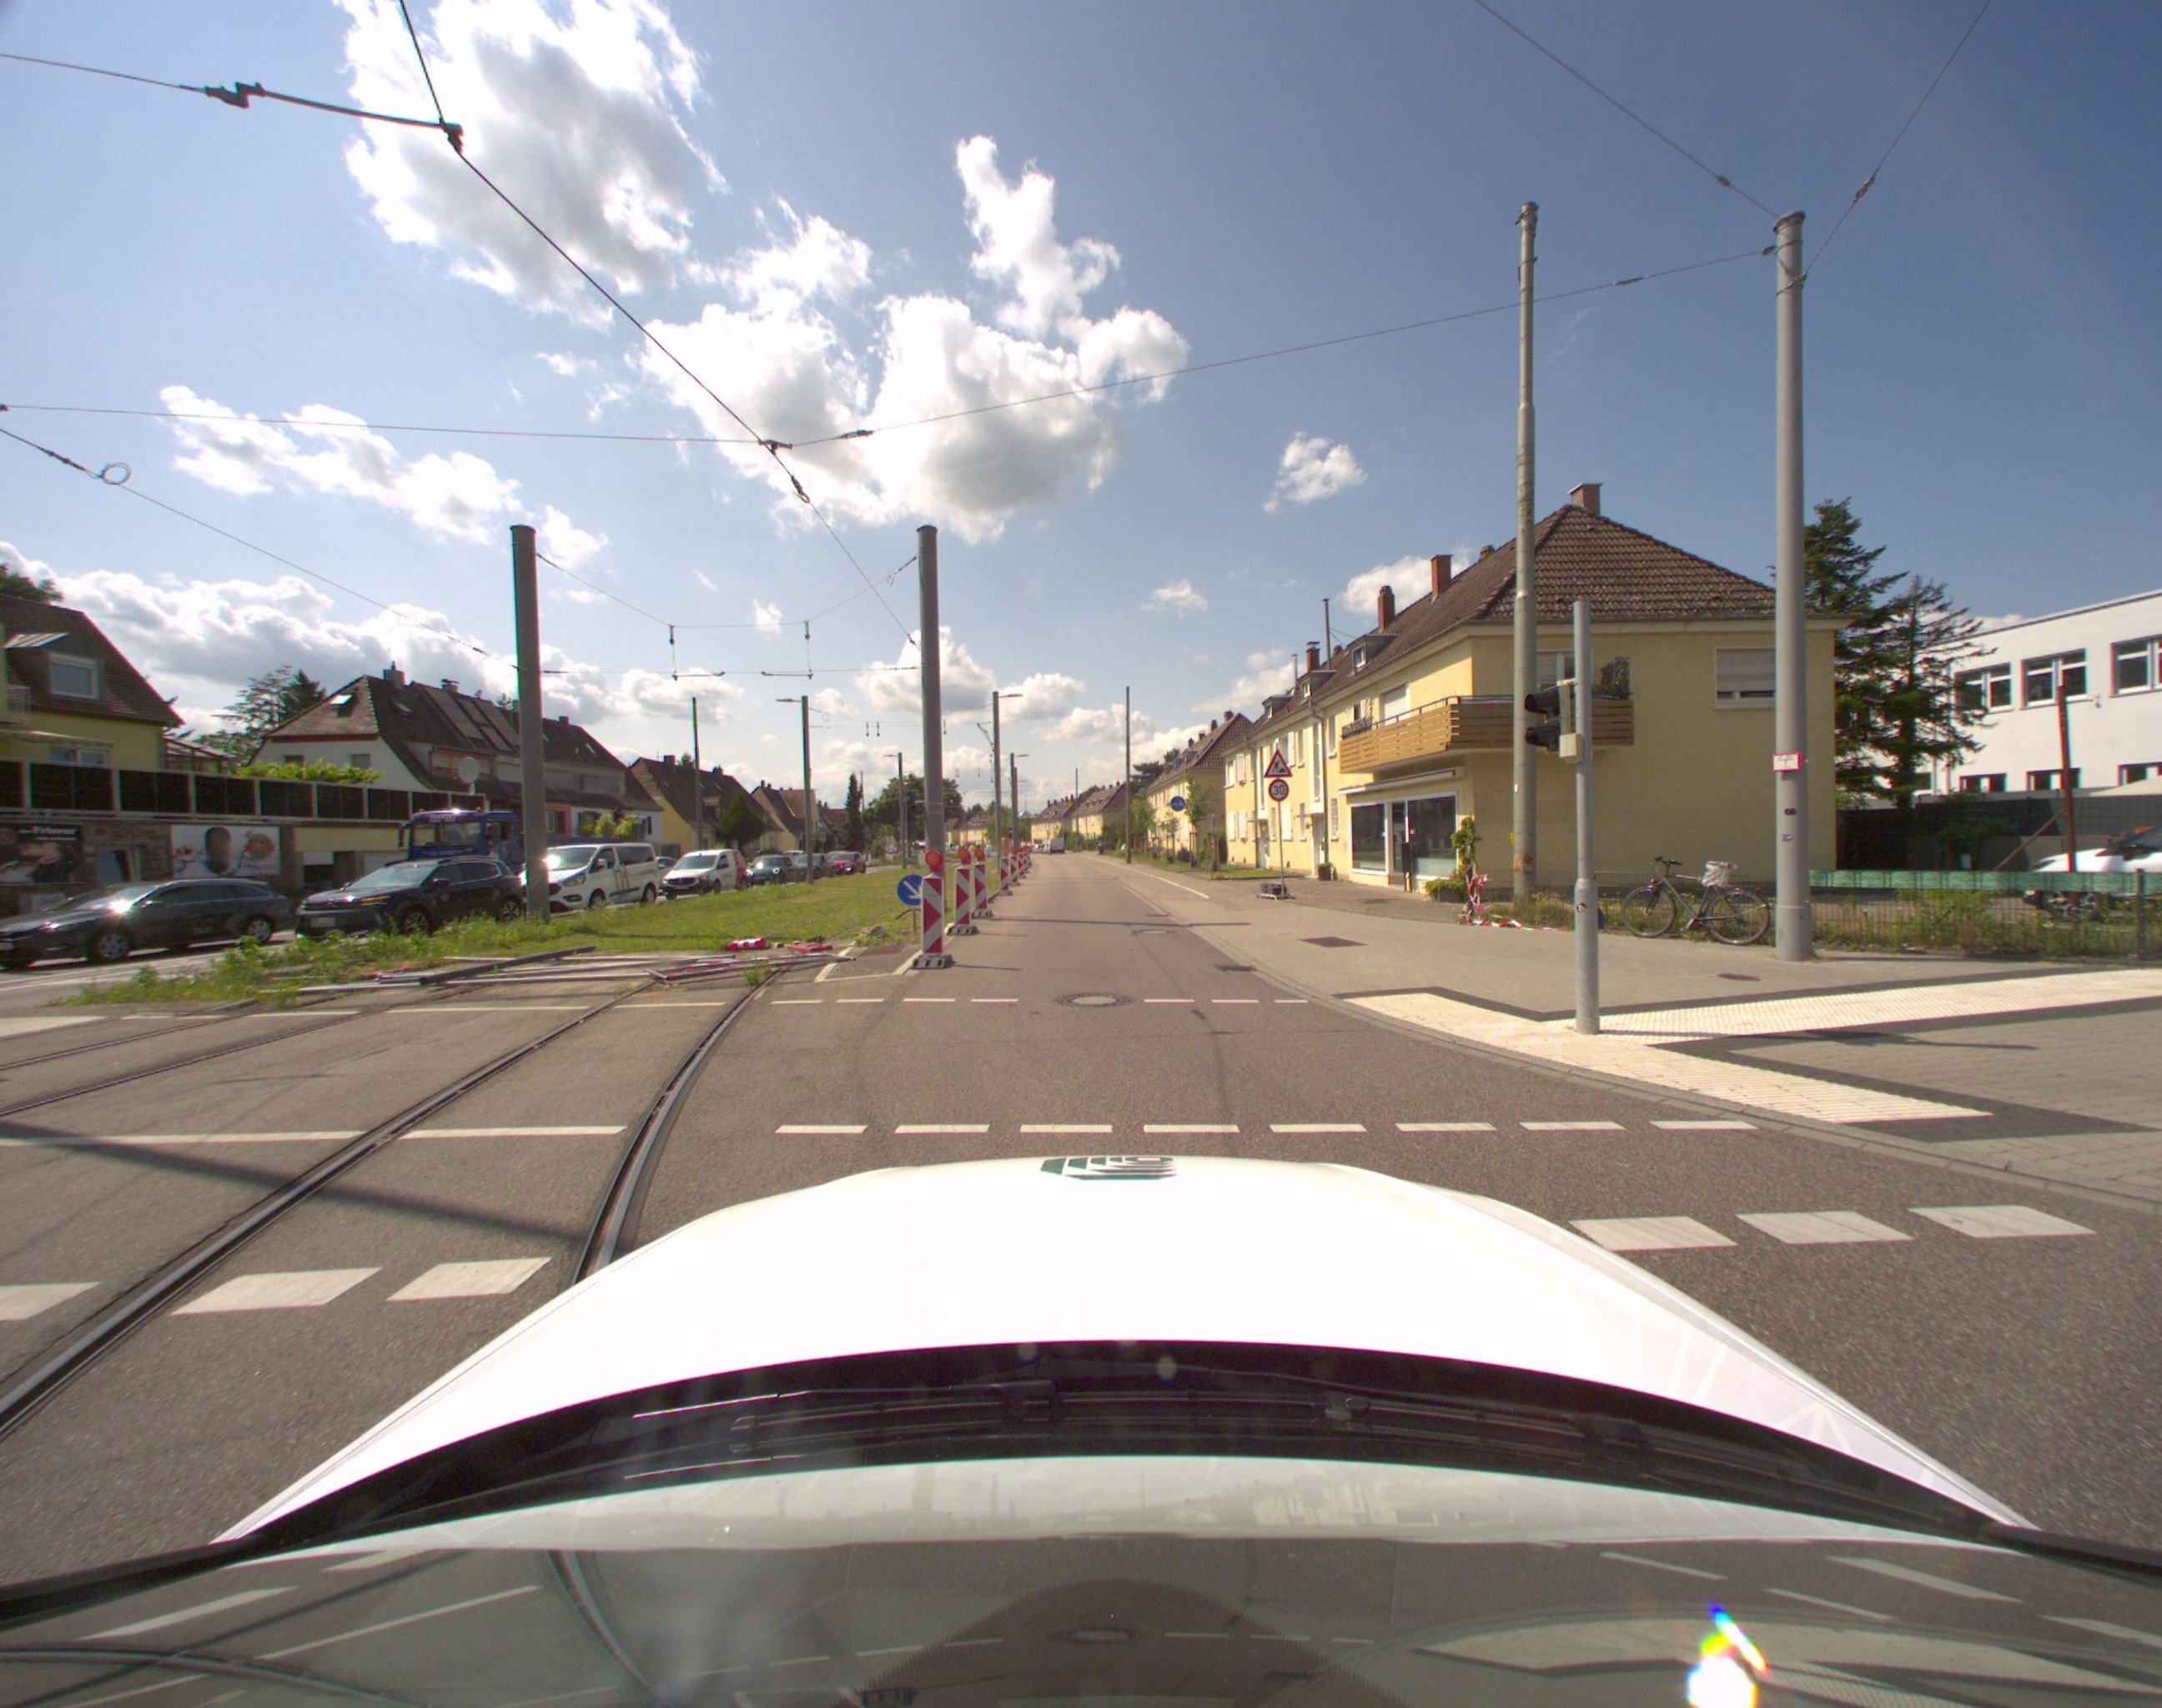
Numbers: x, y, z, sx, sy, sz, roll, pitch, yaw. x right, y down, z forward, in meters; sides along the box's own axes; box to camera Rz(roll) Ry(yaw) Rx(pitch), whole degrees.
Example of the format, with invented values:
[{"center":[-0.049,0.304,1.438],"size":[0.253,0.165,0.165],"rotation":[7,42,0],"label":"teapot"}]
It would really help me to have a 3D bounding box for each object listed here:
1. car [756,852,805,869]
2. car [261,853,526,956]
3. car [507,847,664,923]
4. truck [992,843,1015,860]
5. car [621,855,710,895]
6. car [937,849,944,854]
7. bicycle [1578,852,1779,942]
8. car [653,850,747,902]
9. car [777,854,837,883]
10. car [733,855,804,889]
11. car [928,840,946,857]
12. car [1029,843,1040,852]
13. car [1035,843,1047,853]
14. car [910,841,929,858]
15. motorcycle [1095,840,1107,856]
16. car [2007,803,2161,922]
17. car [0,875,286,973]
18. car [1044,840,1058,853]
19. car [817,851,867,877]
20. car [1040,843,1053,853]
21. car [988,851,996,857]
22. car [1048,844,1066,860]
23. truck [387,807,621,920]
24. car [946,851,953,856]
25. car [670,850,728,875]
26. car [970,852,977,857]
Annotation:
[{"center":[-29.713,0.640,80.690],"size":[4.098,1.466,1.989],"rotation":[-2,1,-3],"label":"car"},{"center":[-13.956,0.909,16.970],"size":[1.782,1.720,4.438],"rotation":[-2,1,-2],"label":"car"},{"center":[-14.007,0.783,23.412],"size":[1.810,1.921,4.742],"rotation":[-2,0,-4],"label":"car"},{"center":[-16.799,-0.550,175.688],"size":[2.649,3.494,9.377],"rotation":[-2,0,-19],"label":"truck"},{"center":[-18.881,0.909,37.264],"size":[1.838,1.659,4.435],"rotation":[-2,0,-1],"label":"car"},{"center":[-41.618,-0.714,241.649],"size":[1.263,1.426,2.644],"rotation":[-2,1,-24],"label":"car"},{"center":[8.134,0.540,11.246],"size":[0.595,1.096,2.261],"rotation":[-2,0,-21],"label":"bicycle"},{"center":[-14.541,0.779,31.347],"size":[1.729,1.782,4.399],"rotation":[-2,0,-4],"label":"car"},{"center":[-14.887,0.774,44.592],"size":[1.839,1.413,4.910],"rotation":[-2,0,-3],"label":"car"},{"center":[-14.510,0.800,37.995],"size":[1.911,1.419,3.995],"rotation":[-2,0,-4],"label":"car"},{"center":[-22.343,-0.859,126.021],"size":[2.409,2.370,4.858],"rotation":[-2,1,-13],"label":"car"},{"center":[-8.394,-1.157,146.476],"size":[1.567,1.551,3.468],"rotation":[-2,1,-9],"label":"car"},{"center":[-6.580,-0.973,134.694],"size":[1.567,1.551,3.777],"rotation":[-2,0,-9],"label":"car"},{"center":[-22.554,-0.608,113.825],"size":[2.409,2.338,4.858],"rotation":[-2,0,-13],"label":"car"},{"center":[2.202,-0.659,88.595],"size":[1.064,1.635,2.081],"rotation":[-2,0,-4],"label":"motorcycle"},{"center":[15.533,0.083,10.787],"size":[1.819,1.621,3.992],"rotation":[-2,-1,-5],"label":"car"},{"center":[-18.464,1.246,15.794],"size":[1.822,1.487,4.332],"rotation":[-2,0,-1],"label":"car"},{"center":[-4.584,-1.170,123.994],"size":[1.567,1.897,3.777],"rotation":[-2,0,-9],"label":"car"},{"center":[-15.071,0.615,51.611],"size":[1.839,1.493,4.852],"rotation":[-2,0,-2],"label":"car"},{"center":[-5.536,-0.944,129.163],"size":[1.567,1.551,3.777],"rotation":[-2,1,-9],"label":"car"},{"center":[-20.422,-0.001,187.586],"size":[1.261,1.426,2.648],"rotation":[-2,0,-19],"label":"car"},{"center":[-3.404,-0.335,114.311],"size":[2.062,2.149,4.869],"rotation":[-2,0,-5],"label":"car"},{"center":[-18.894,0.260,27.454],"size":[2.763,3.188,7.573],"rotation":[-2,0,-4],"label":"truck"},{"center":[-37.422,-0.233,231.516],"size":[1.171,1.426,2.644],"rotation":[-2,0,-23],"label":"car"},{"center":[-27.833,0.627,59.405],"size":[3.378,1.594,1.602],"rotation":[3,0,-5],"label":"car"},{"center":[-27.485,0.144,208.263],"size":[1.262,1.426,2.647],"rotation":[-2,0,-20],"label":"car"}]
